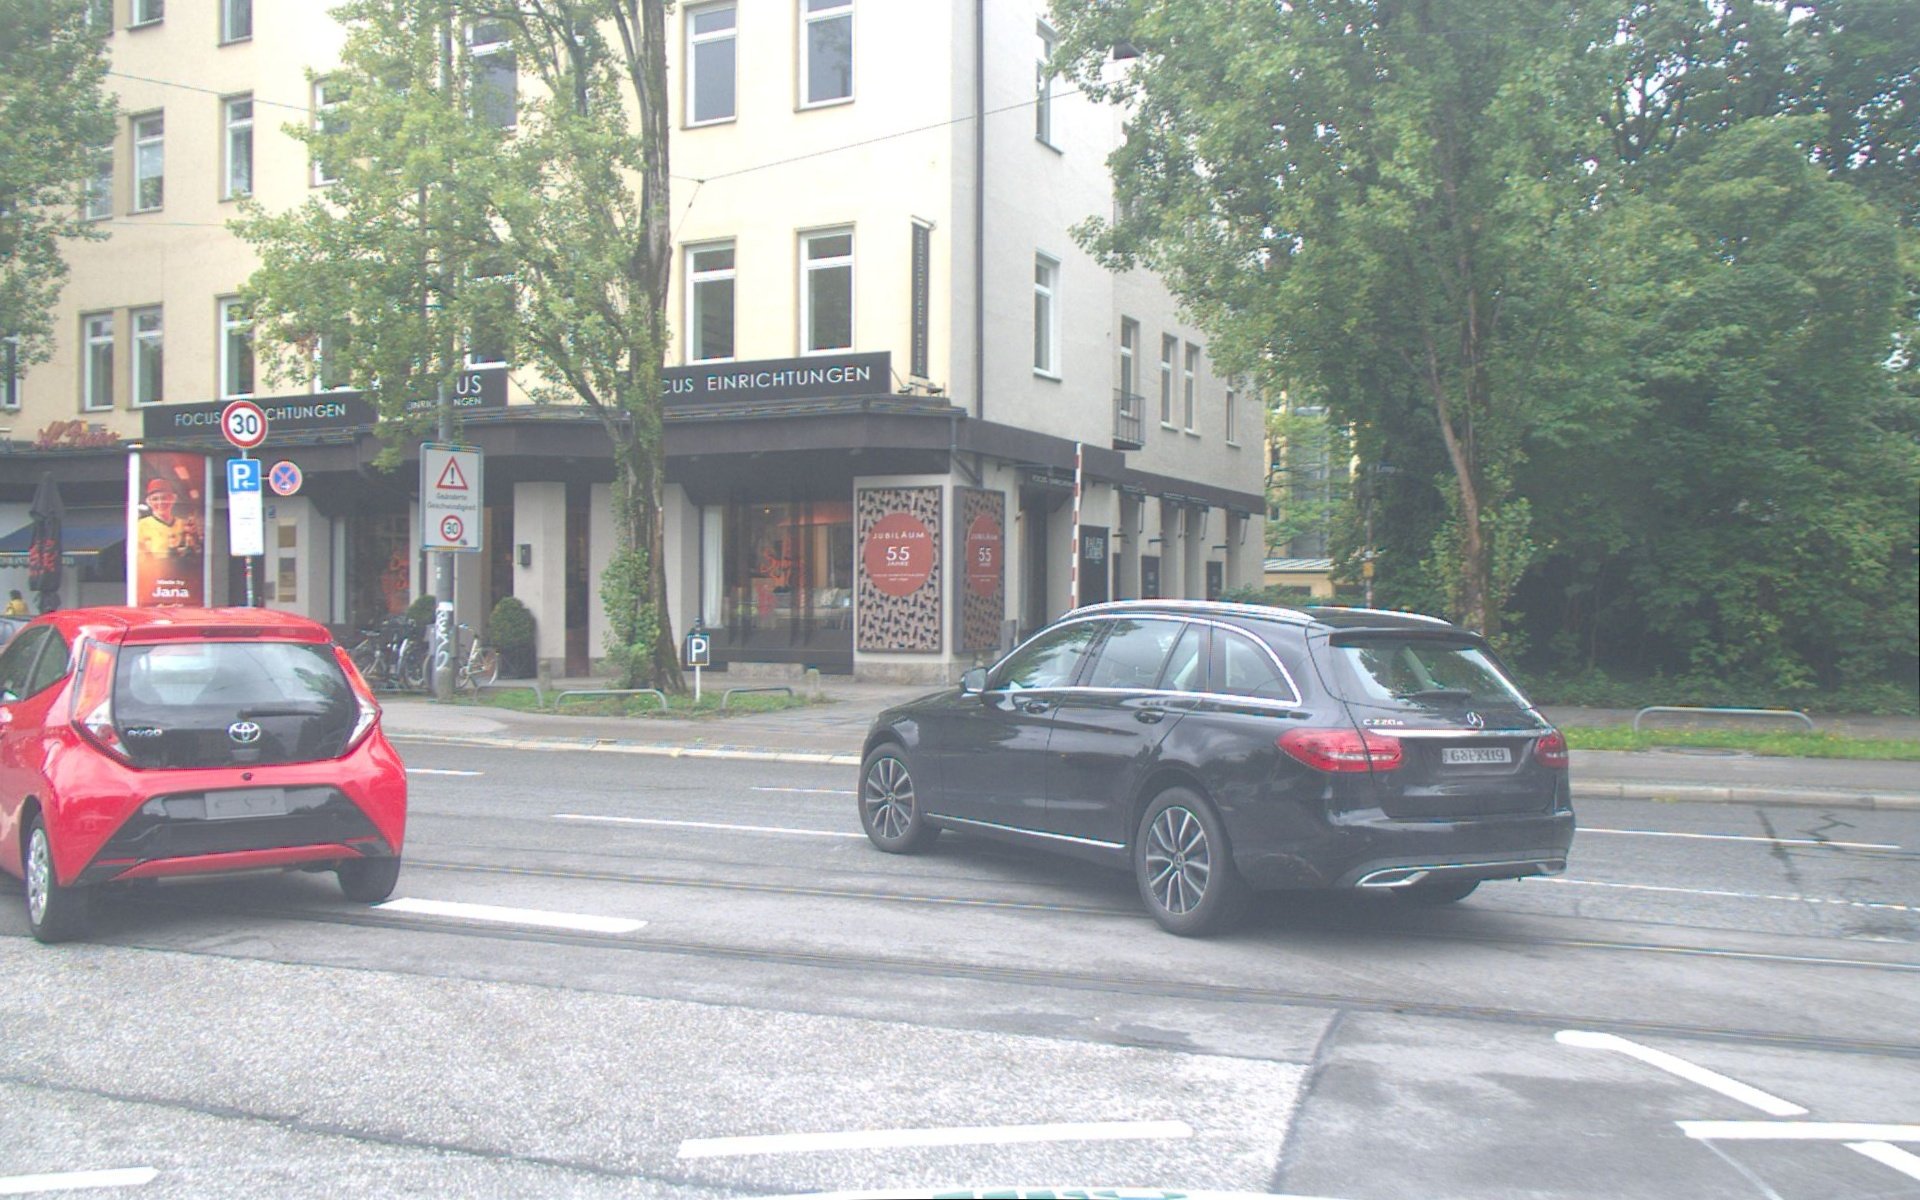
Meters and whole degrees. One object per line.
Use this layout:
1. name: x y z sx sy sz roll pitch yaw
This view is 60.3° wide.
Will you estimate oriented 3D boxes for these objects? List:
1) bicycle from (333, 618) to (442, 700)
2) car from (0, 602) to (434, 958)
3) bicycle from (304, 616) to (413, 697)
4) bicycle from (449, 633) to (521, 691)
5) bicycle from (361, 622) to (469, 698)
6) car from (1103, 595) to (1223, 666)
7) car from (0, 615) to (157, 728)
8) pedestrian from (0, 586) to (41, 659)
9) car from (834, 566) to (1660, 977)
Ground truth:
1. bicycle: -8.918 0.891 25.833 0.484 1.206 1.889 0 0 22
2. car: -4.184 0.770 8.642 1.618 1.465 3.328 1 -1 -40
3. bicycle: -9.504 0.870 26.203 0.484 1.206 1.889 0 0 22
4. bicycle: -7.825 1.009 27.283 0.380 0.899 1.371 0 0 22
5. bicycle: -8.432 0.914 25.656 0.484 1.100 1.889 0 0 22
6. car: 4.586 0.643 36.844 1.690 1.467 4.000 0 0 22
7. car: -13.539 0.953 23.369 3.905 1.491 1.805 0 -1 22
8. pedestrian: -20.683 0.493 36.428 0.484 1.589 0.574 2 0 26
9. car: 1.143 0.621 8.845 1.843 1.576 4.657 0 1 -30
